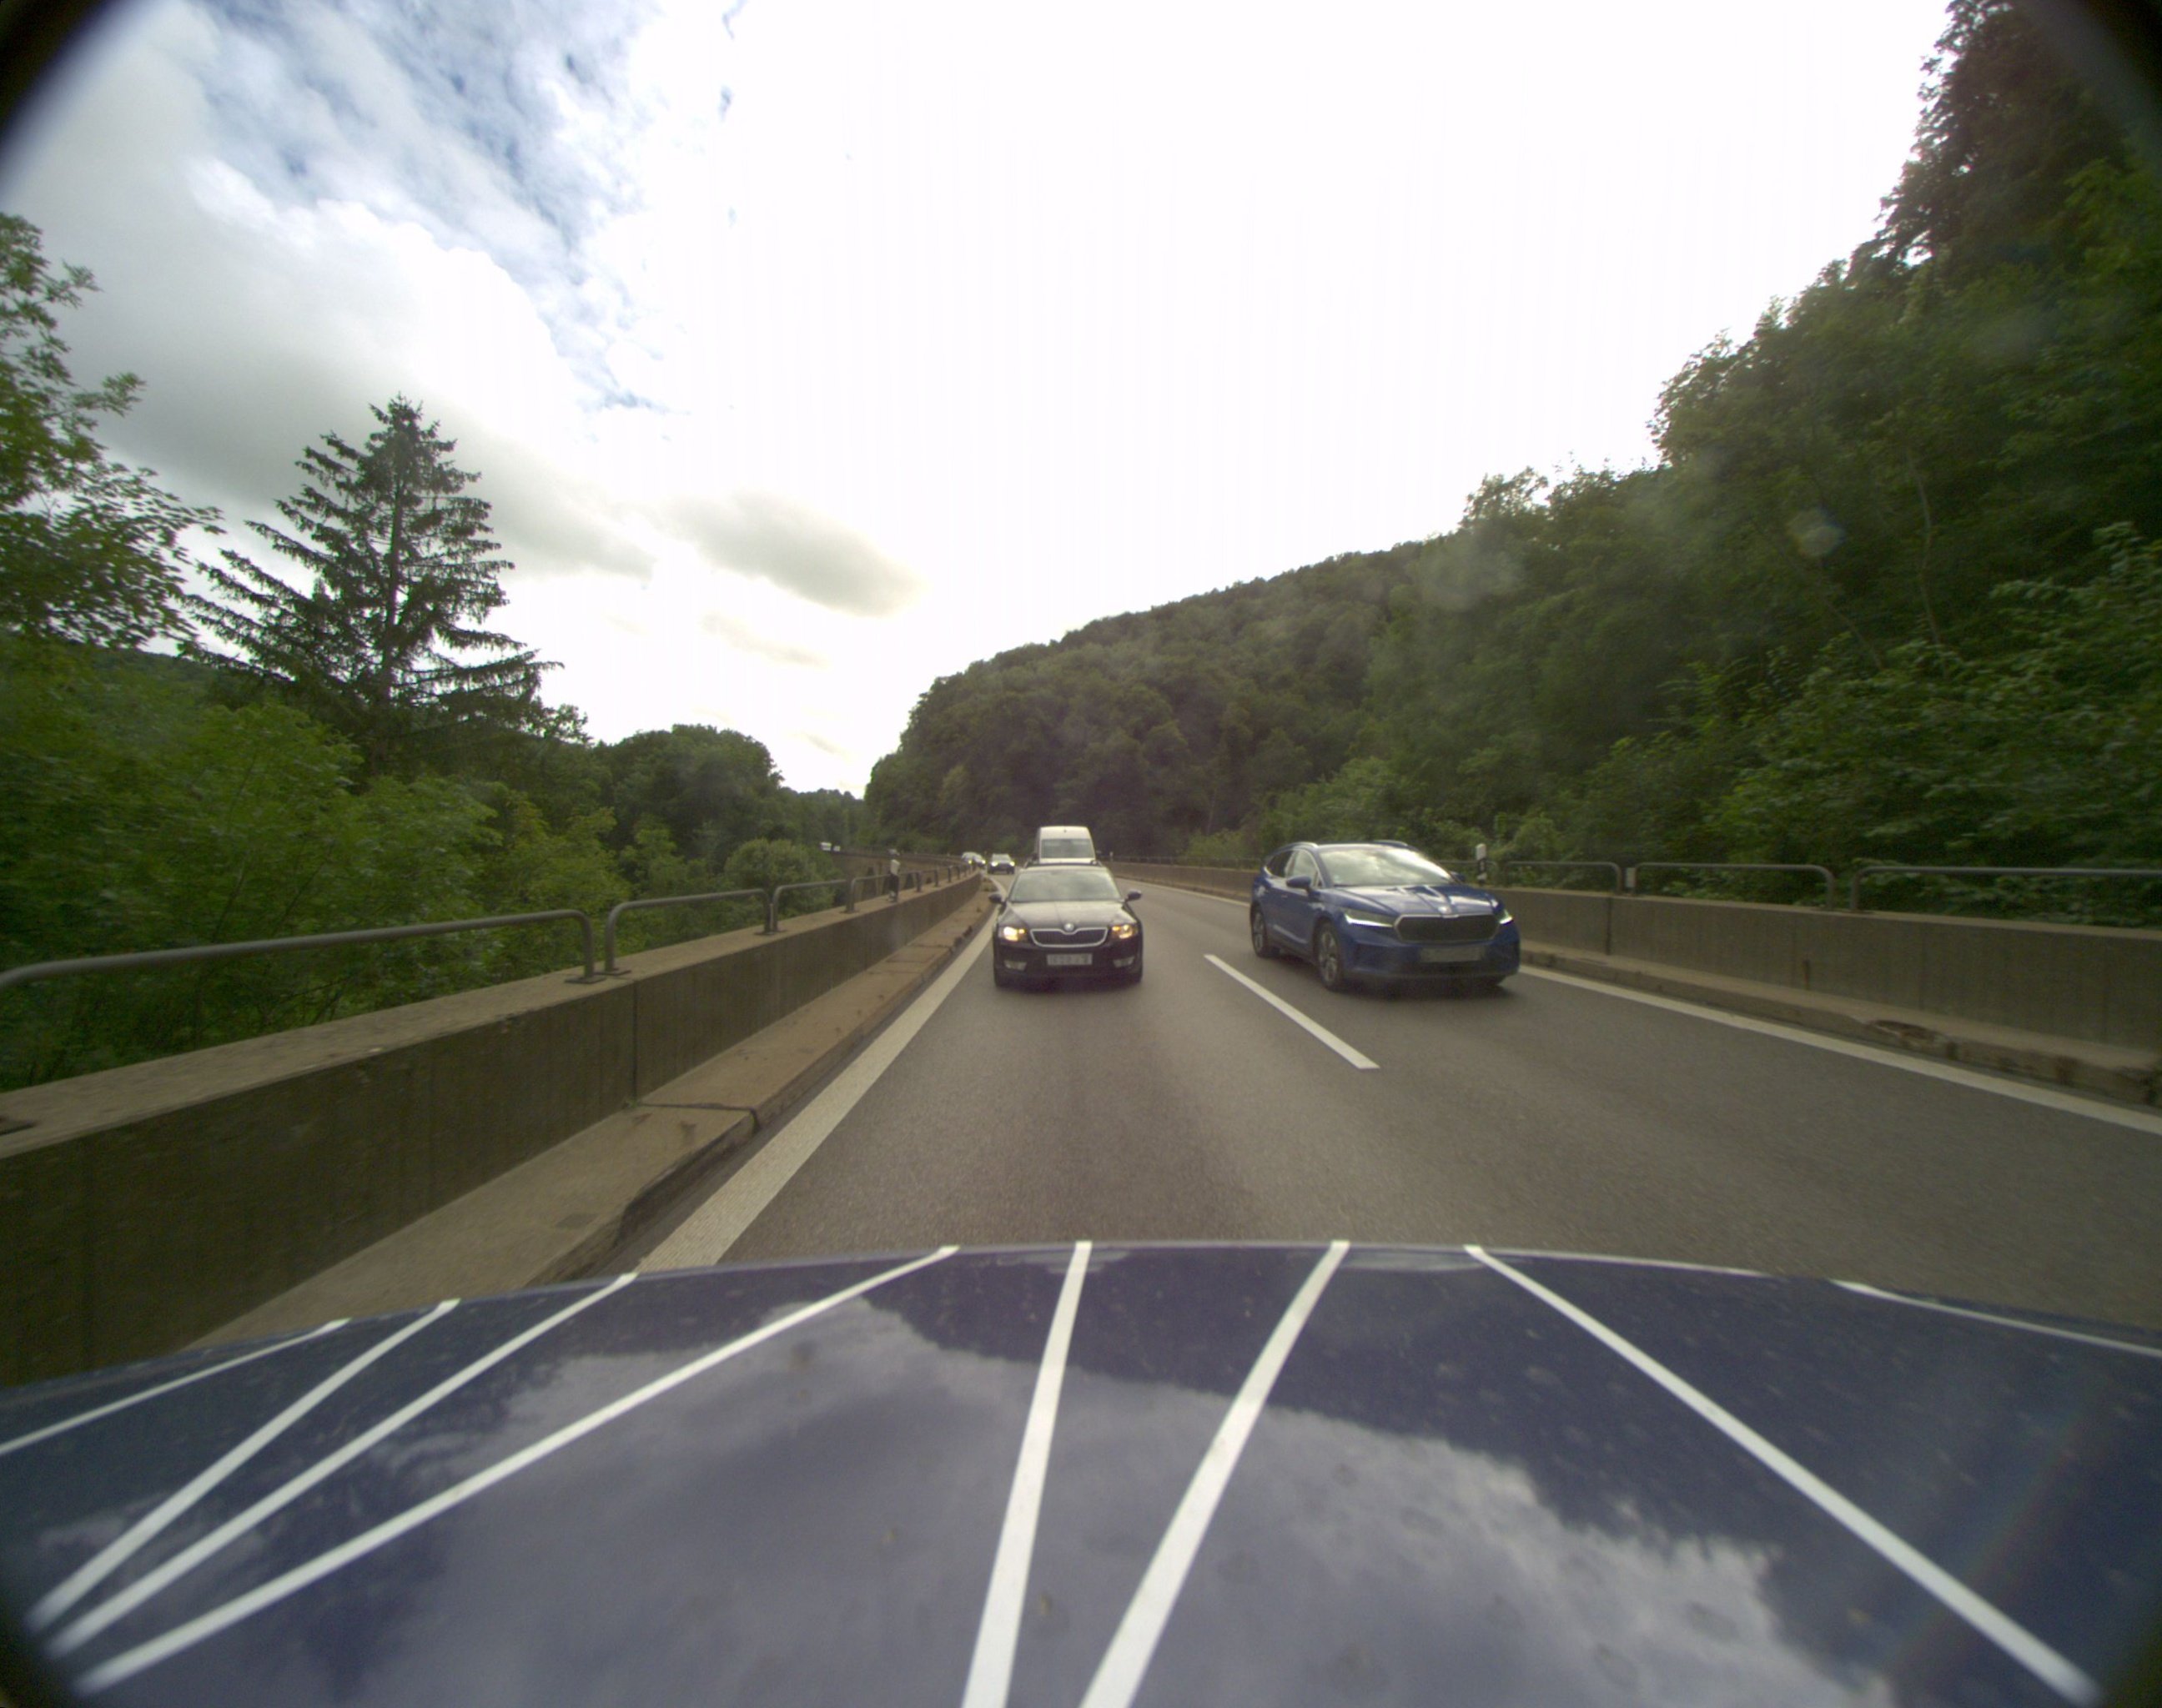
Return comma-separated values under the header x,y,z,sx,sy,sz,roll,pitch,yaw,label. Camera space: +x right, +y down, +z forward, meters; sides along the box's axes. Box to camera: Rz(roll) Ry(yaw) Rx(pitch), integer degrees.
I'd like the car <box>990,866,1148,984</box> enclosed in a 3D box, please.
x,y,z,sx,sy,sz,roll,pitch,yaw,label
-0.250,0.951,12.203,1.999,1.389,5.007,-1,0,-2,car

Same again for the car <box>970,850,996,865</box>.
x,y,z,sx,sy,sz,roll,pitch,yaw,label
-9.469,0.314,73.028,1.890,1.312,3.994,-2,1,-15,car

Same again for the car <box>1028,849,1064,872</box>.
x,y,z,sx,sy,sz,roll,pitch,yaw,label
-2.780,0.493,59.263,2.001,1.622,5.002,-1,0,-13,car

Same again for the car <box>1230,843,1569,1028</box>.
x,y,z,sx,sy,sz,roll,pitch,yaw,label
3.467,0.748,9.571,1.999,1.622,5.007,-3,0,-2,car

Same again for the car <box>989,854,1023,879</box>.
x,y,z,sx,sy,sz,roll,pitch,yaw,label
-5.713,0.939,57.621,1.966,1.696,3.995,-2,1,-13,car

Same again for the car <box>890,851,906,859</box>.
x,y,z,sx,sy,sz,roll,pitch,yaw,label
-31.231,0.155,129.817,1.891,1.312,3.991,-2,1,-24,car

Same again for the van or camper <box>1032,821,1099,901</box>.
x,y,z,sx,sy,sz,roll,pitch,yaw,label
-0.679,0.216,27.800,2.082,2.575,5.909,-1,1,-4,van or camper
